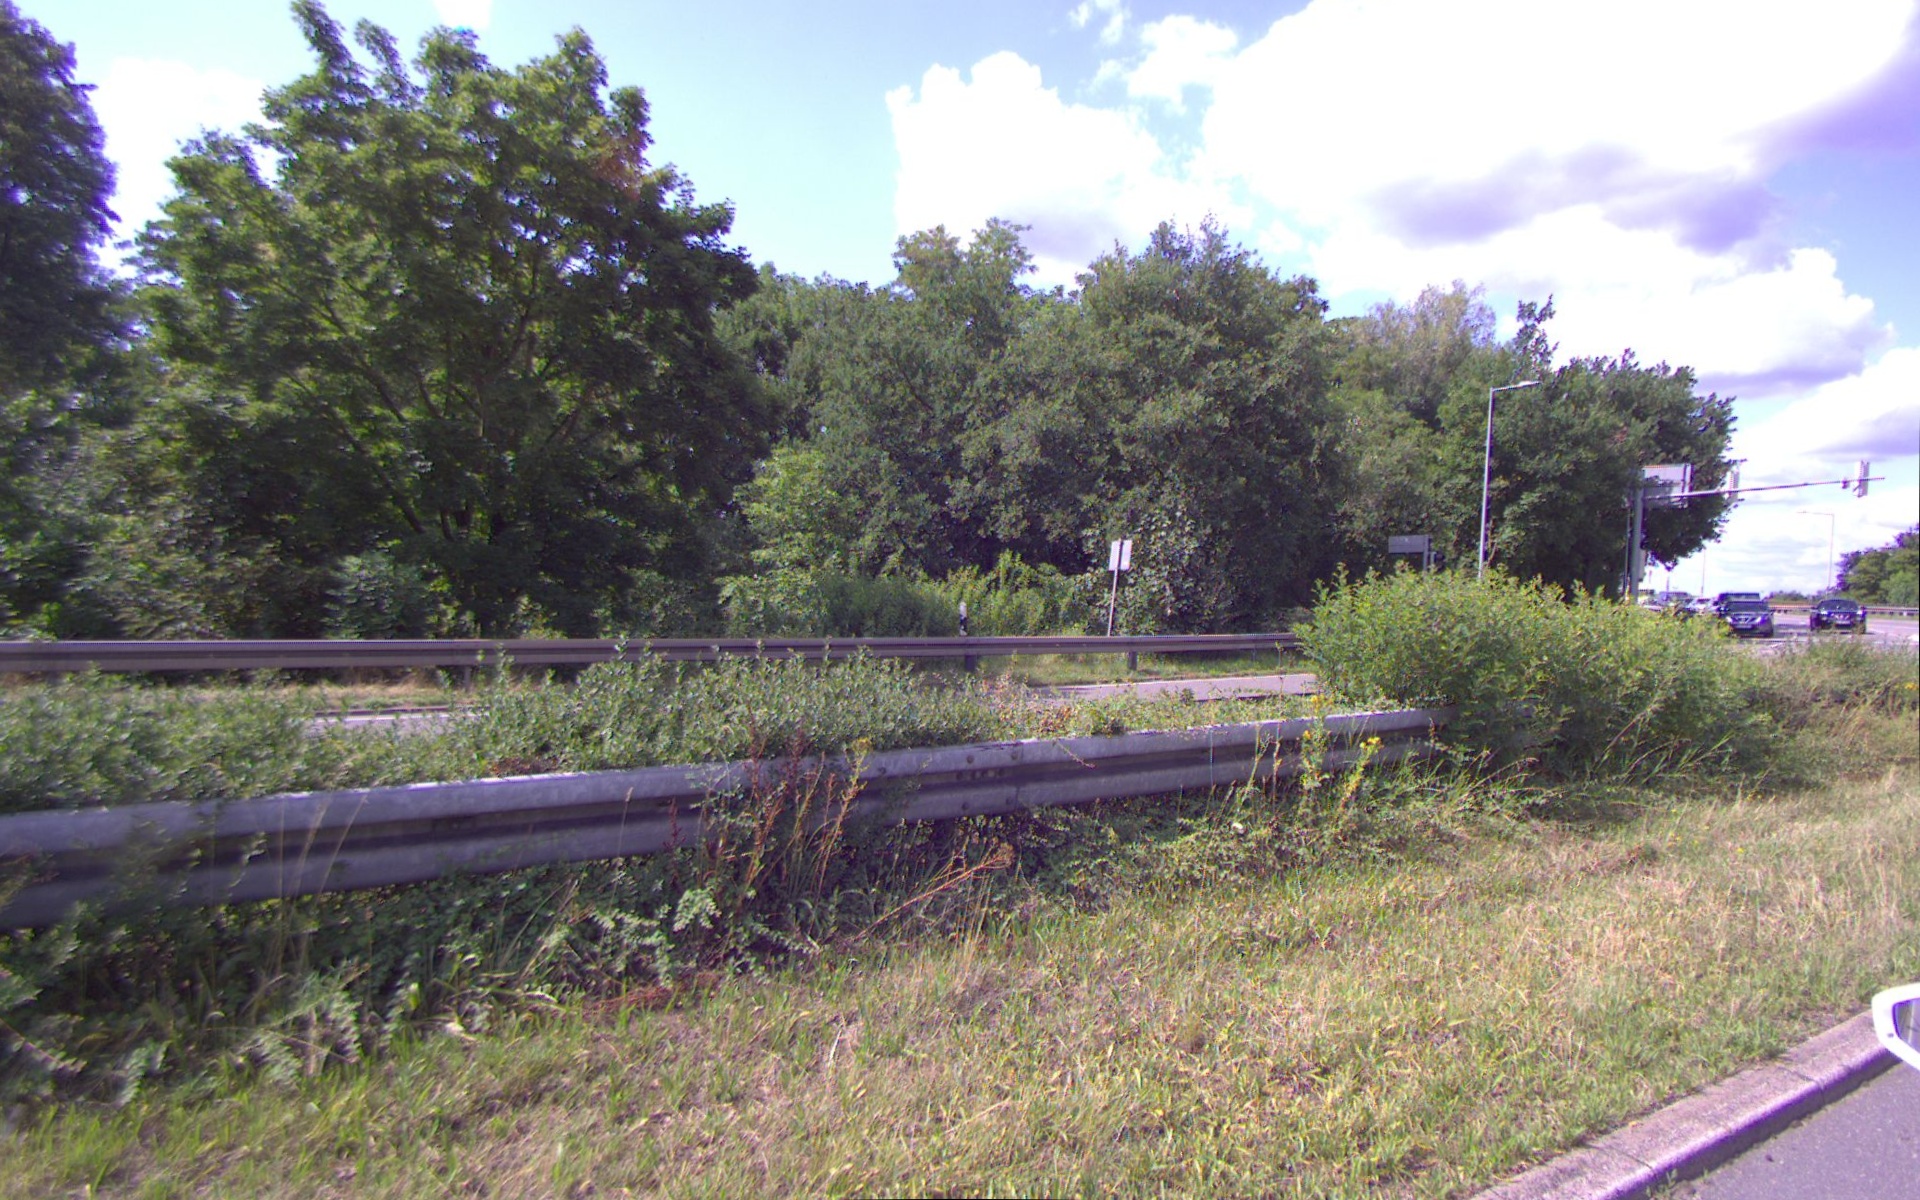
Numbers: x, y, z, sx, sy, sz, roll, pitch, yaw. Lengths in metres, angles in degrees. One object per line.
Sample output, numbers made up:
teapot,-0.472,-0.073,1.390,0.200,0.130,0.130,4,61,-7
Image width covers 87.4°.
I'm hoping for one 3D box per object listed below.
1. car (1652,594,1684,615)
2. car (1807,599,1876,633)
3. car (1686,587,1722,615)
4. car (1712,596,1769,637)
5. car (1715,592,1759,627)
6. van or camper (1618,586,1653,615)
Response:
car,59.962,0.392,85.166,1.816,1.728,4.317,2,1,31
car,41.042,0.724,46.862,1.921,1.437,3.957,2,1,35
car,55.276,0.087,74.668,1.817,2.005,4.315,2,1,32
car,33.518,0.716,43.154,1.816,1.639,3.984,2,-1,38
car,42.555,0.498,55.045,1.820,1.826,4.309,2,1,38
van or camper,66.480,0.050,98.909,1.963,2.719,6.854,2,1,27
